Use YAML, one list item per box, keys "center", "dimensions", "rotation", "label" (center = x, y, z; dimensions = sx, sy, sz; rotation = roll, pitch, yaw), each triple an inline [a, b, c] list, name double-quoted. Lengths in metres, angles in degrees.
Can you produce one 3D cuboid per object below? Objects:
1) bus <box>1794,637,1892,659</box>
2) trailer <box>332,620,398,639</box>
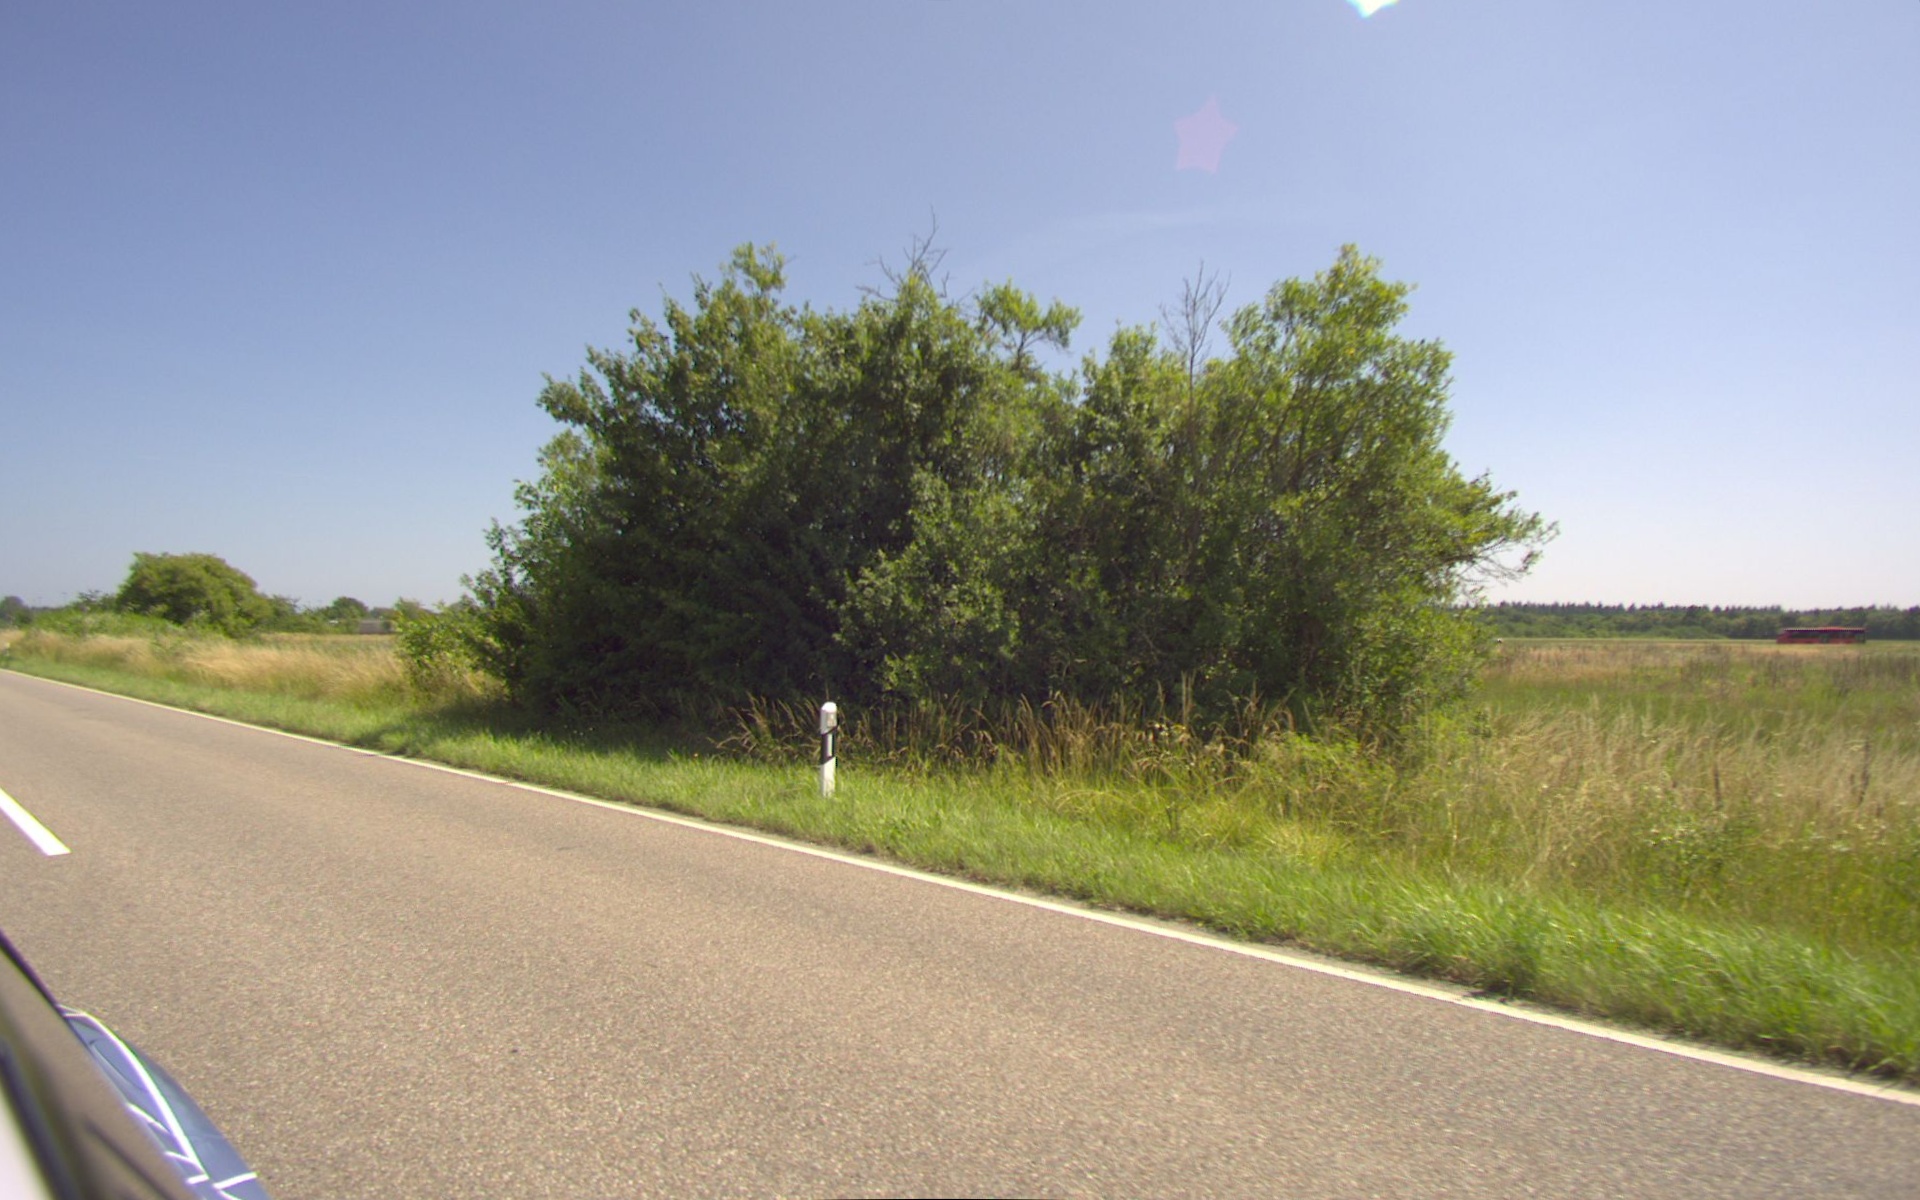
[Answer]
- center: [140.967, 7.668, 161.726]
  dimensions: [11.850, 3.334, 3.305]
  rotation: [0, -2, 8]
  label: "bus"
- center: [-124.525, 6.132, 211.818]
  dimensions: [13.741, 3.964, 2.632]
  rotation: [0, -2, 13]
  label: "trailer"
